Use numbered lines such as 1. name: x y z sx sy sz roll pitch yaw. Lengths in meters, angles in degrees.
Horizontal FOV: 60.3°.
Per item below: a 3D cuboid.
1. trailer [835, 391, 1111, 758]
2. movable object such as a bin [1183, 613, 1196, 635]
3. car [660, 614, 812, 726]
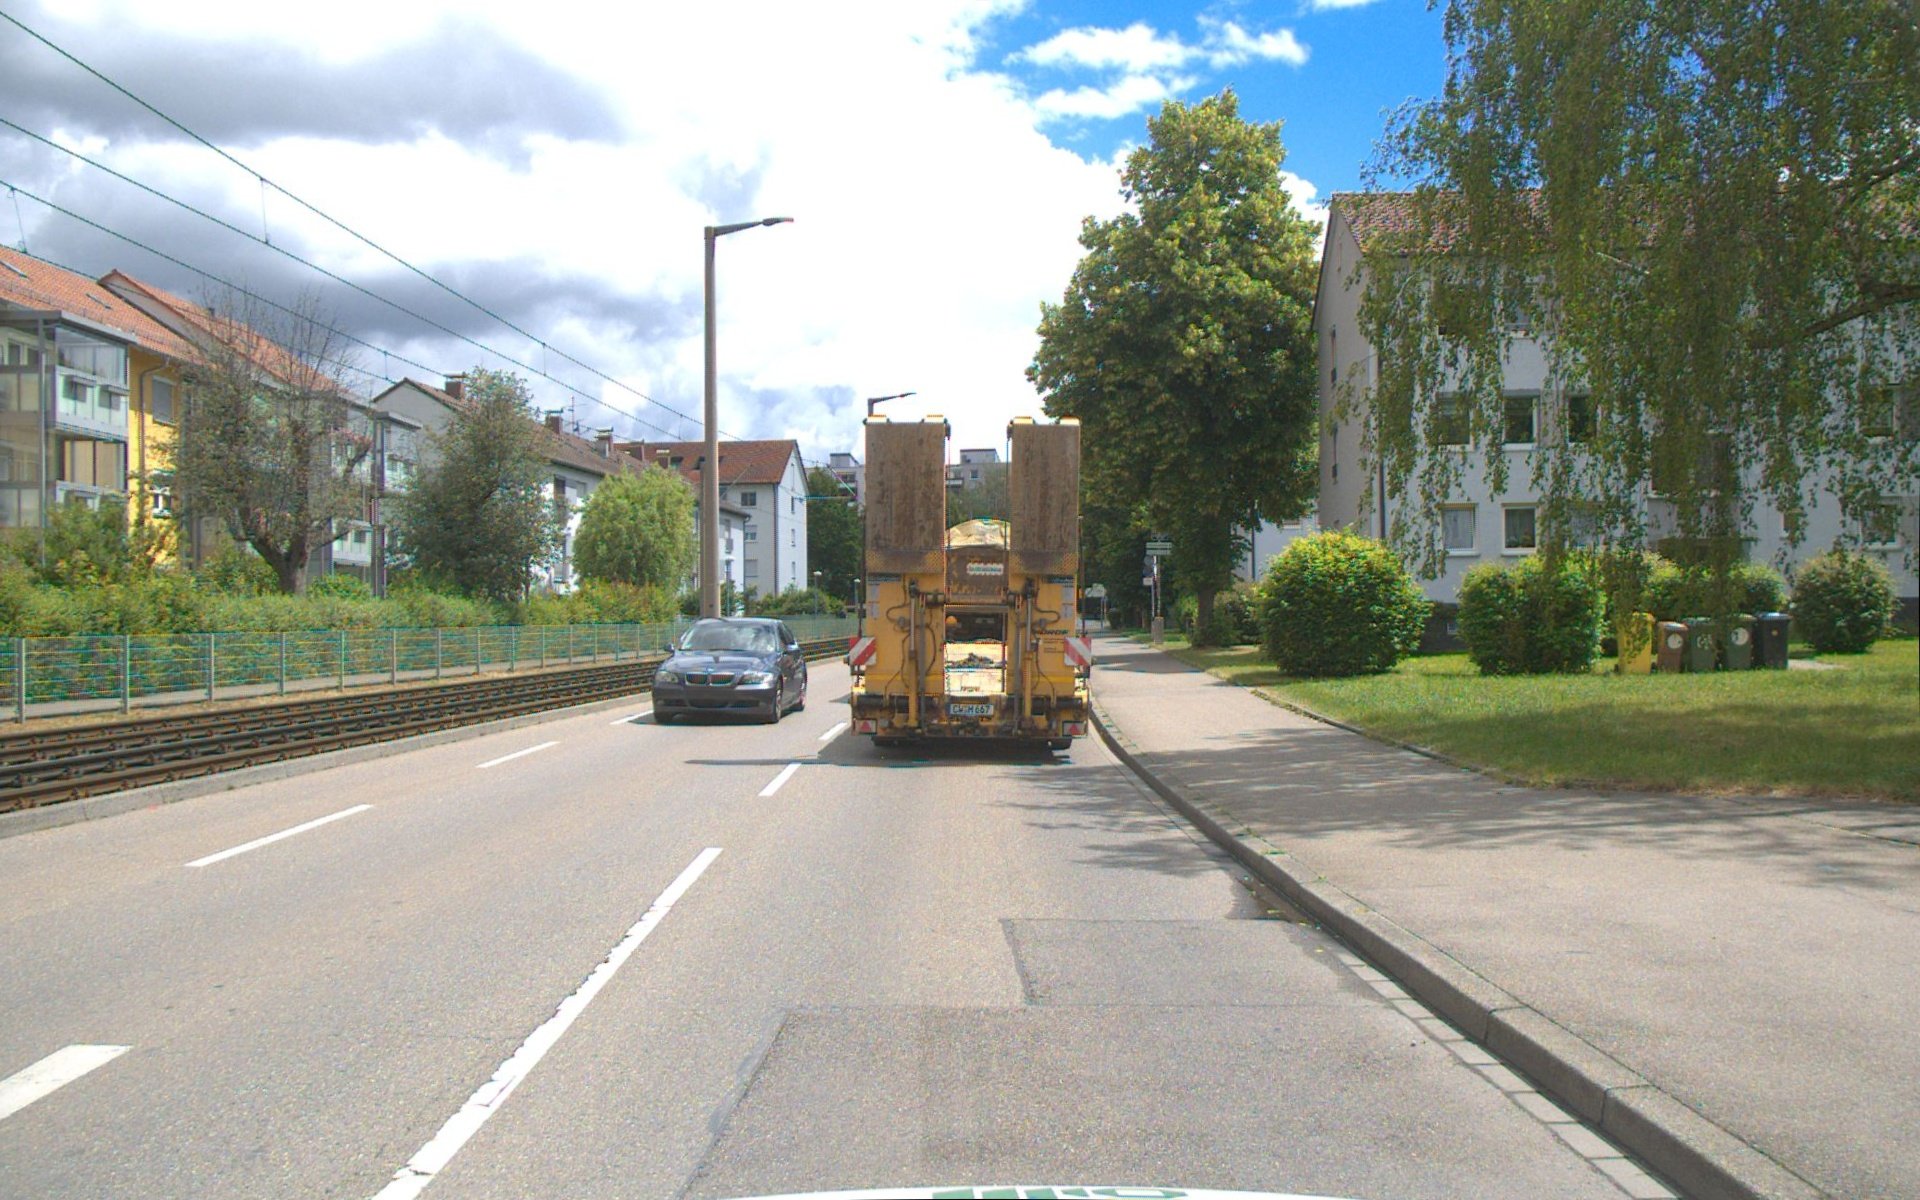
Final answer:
1. trailer: 0.083 -0.165 23.058 2.769 3.710 12.351 1 -1 -1
2. movable object such as a bin: 9.991 1.044 72.094 0.485 0.971 0.580 -2 -1 4
3. car: -3.132 0.940 23.820 1.595 1.457 4.167 1 -1 0
